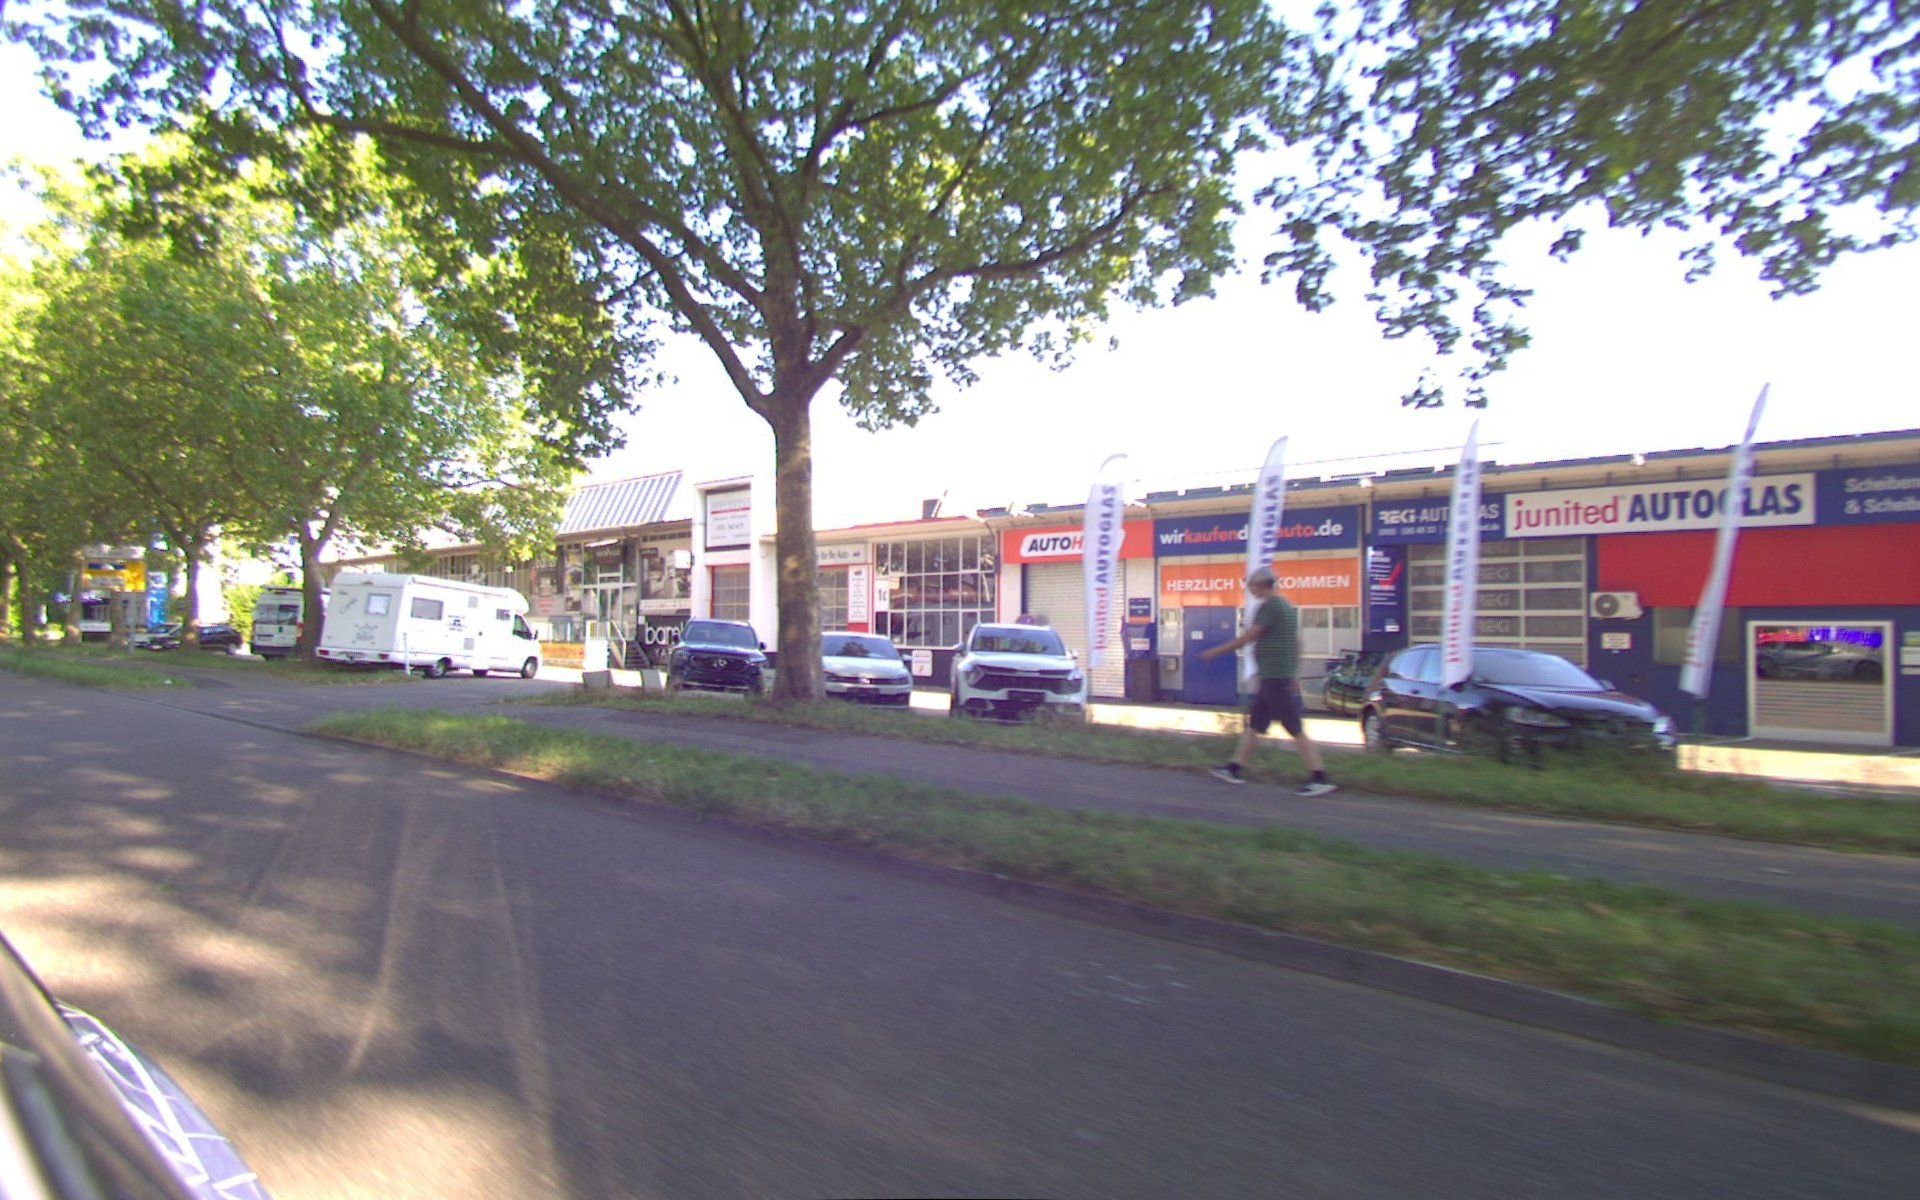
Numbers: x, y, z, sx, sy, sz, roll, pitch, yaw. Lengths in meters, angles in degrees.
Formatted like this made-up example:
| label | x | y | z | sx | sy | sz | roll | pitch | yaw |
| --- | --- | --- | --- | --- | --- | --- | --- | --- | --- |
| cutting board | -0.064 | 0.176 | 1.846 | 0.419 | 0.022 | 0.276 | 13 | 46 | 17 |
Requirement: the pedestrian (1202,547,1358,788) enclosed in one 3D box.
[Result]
| label | x | y | z | sx | sy | sz | roll | pitch | yaw |
| --- | --- | --- | --- | --- | --- | --- | --- | --- | --- |
| pedestrian | 2.563 | 0.500 | 8.125 | 0.940 | 1.786 | 0.795 | -1 | 0 | 43 |

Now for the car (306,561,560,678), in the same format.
| label | x | y | z | sx | sy | sz | roll | pitch | yaw |
| --- | --- | --- | --- | --- | --- | --- | --- | --- | --- |
| car | -14.860 | 0.757 | 29.308 | 2.575 | 2.875 | 6.931 | 0 | -5 | 12 |

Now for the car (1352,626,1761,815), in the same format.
| label | x | y | z | sx | sy | sz | roll | pitch | yaw |
| --- | --- | --- | --- | --- | --- | --- | --- | --- | --- |
| car | 6.179 | 1.135 | 11.117 | 1.970 | 1.586 | 3.847 | 0 | 0 | -5 |

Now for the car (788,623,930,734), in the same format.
| label | x | y | z | sx | sy | sz | roll | pitch | yaw |
| --- | --- | --- | --- | --- | --- | --- | --- | --- | --- |
| car | -1.875 | 1.243 | 17.566 | 1.967 | 1.582 | 4.061 | 0 | 0 | -12 |

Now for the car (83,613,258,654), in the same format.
| label | x | y | z | sx | sy | sz | roll | pitch | yaw |
| --- | --- | --- | --- | --- | --- | --- | --- | --- | --- |
| car | -39.210 | 1.756 | 50.544 | 2.708 | 1.693 | 6.322 | -1 | -5 | 22 |

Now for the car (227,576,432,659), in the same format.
| label | x | y | z | sx | sy | sz | roll | pitch | yaw |
| --- | --- | --- | --- | --- | --- | --- | --- | --- | --- |
| car | -22.430 | 0.744 | 36.465 | 2.574 | 2.516 | 6.303 | 0 | -5 | 11 |

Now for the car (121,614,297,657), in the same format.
| label | x | y | z | sx | sy | sz | roll | pitch | yaw |
| --- | --- | --- | --- | --- | --- | --- | --- | --- | --- |
| car | -36.452 | 1.805 | 49.432 | 2.708 | 1.693 | 6.373 | -1 | -5 | 22 |

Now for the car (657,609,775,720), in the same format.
| label | x | y | z | sx | sy | sz | roll | pitch | yaw |
| --- | --- | --- | --- | --- | --- | --- | --- | --- | --- |
| car | -4.674 | 1.129 | 19.620 | 1.967 | 1.854 | 4.259 | 0 | 0 | -12 |

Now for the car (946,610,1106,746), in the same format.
| label | x | y | z | sx | sy | sz | roll | pitch | yaw |
| --- | --- | --- | --- | --- | --- | --- | --- | --- | --- |
| car | 0.857 | 1.060 | 15.689 | 1.971 | 1.764 | 4.315 | 0 | 0 | -3 |
